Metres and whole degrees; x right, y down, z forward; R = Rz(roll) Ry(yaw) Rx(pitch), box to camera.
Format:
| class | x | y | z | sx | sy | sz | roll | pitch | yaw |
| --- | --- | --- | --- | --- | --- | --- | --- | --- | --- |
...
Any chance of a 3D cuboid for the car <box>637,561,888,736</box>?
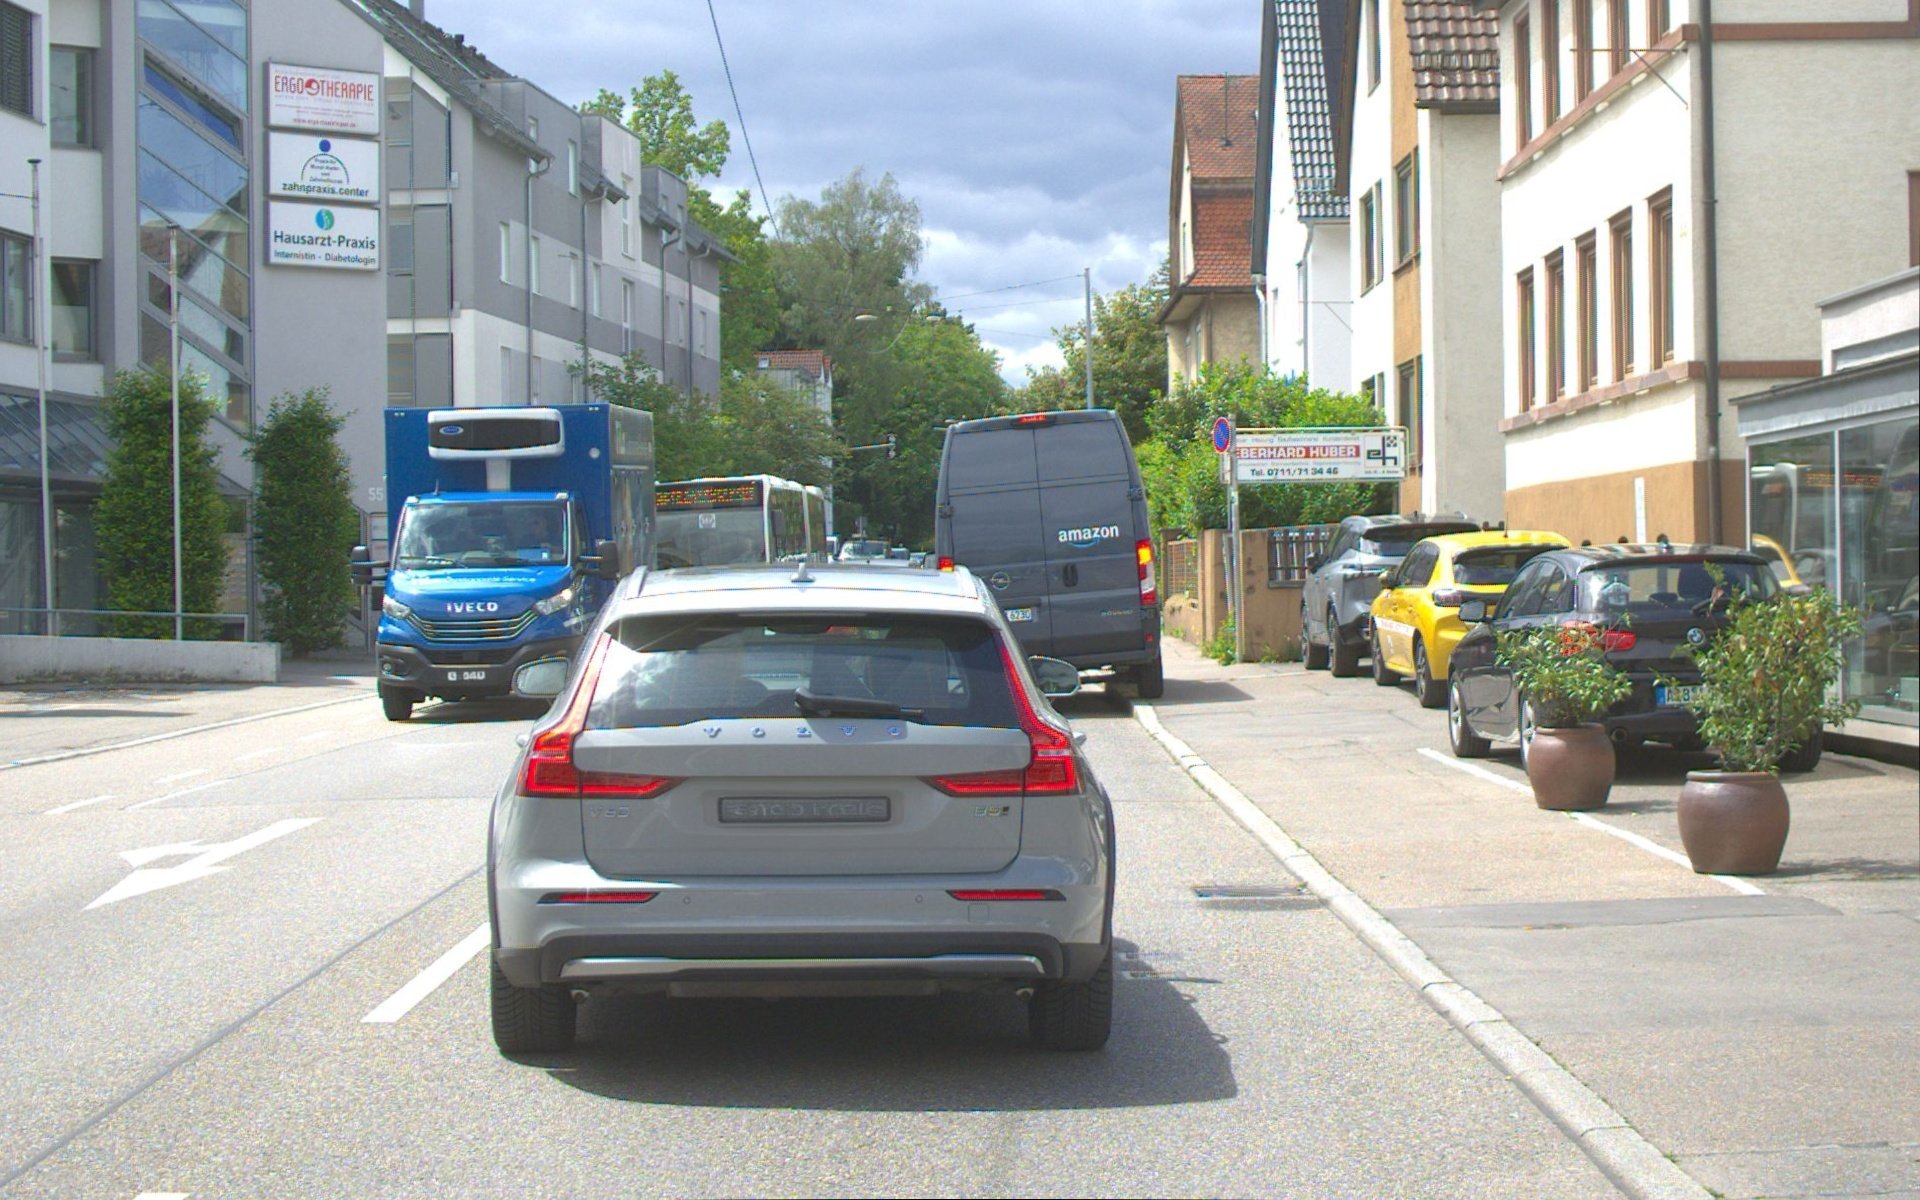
| class | x | y | z | sx | sy | sz | roll | pitch | yaw |
| --- | --- | --- | --- | --- | --- | --- | --- | --- | --- |
| car | -1.706 | 0.381 | 30.881 | 1.896 | 1.441 | 3.968 | 0 | 1 | 2 |

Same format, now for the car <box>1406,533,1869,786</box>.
| class | x | y | z | sx | sy | sz | roll | pitch | yaw |
| --- | --- | --- | --- | --- | --- | --- | --- | --- | --- |
| car | 4.268 | 0.315 | 22.417 | 1.968 | 1.442 | 4.536 | -1 | 1 | -2 |

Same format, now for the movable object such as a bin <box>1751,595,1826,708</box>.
| class | x | y | z | sx | sy | sz | roll | pitch | yaw |
| --- | --- | --- | --- | --- | --- | --- | --- | --- | --- |
| movable object such as a bin | 6.952 | 0.427 | 28.861 | 0.501 | 0.922 | 0.598 | -1 | 1 | 4 |

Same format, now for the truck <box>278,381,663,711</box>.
| class | x | y | z | sx | sy | sz | roll | pitch | yaw |
| --- | --- | --- | --- | --- | --- | --- | --- | --- | --- |
| truck | -4.989 | -0.563 | 36.642 | 2.853 | 3.082 | 8.089 | -1 | 1 | 0 |

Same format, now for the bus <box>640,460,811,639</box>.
| class | x | y | z | sx | sy | sz | roll | pitch | yaw |
| --- | --- | --- | --- | --- | --- | --- | --- | --- | --- |
| bus | -4.424 | -0.972 | 66.684 | 2.682 | 3.153 | 10.185 | -1 | 1 | -1 |

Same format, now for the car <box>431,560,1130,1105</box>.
| class | x | y | z | sx | sy | sz | roll | pitch | yaw |
| --- | --- | --- | --- | --- | --- | --- | --- | --- | --- |
| car | -0.427 | 0.606 | 11.325 | 1.896 | 1.448 | 3.968 | 0 | 1 | 2 |

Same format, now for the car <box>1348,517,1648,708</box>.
| class | x | y | z | sx | sy | sz | roll | pitch | yaw |
| --- | --- | --- | --- | --- | --- | --- | --- | --- | --- |
| car | 4.748 | 0.051 | 30.919 | 1.877 | 1.442 | 4.308 | -1 | 3 | -2 |

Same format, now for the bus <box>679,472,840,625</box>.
| class | x | y | z | sx | sy | sz | roll | pitch | yaw |
| --- | --- | --- | --- | --- | --- | --- | --- | --- | --- |
| bus | -4.332 | -1.128 | 75.836 | 2.716 | 3.153 | 8.068 | -1 | 1 | 2 |

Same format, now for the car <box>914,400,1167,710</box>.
| class | x | y | z | sx | sy | sz | roll | pitch | yaw |
| --- | --- | --- | --- | --- | --- | --- | --- | --- | --- |
| car | 0.805 | -0.450 | 34.026 | 2.252 | 2.786 | 5.569 | -1 | 1 | 2 |

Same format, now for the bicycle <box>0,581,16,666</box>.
| class | x | y | z | sx | sy | sz | roll | pitch | yaw |
| --- | --- | --- | --- | --- | --- | --- | --- | --- | --- |
| bicycle | -12.726 | 0.318 | 44.087 | 0.630 | 1.091 | 2.003 | -1 | 1 | 2 |

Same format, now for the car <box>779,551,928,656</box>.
| class | x | y | z | sx | sy | sz | roll | pitch | yaw |
| --- | --- | --- | --- | --- | --- | --- | --- | --- | --- |
| car | -1.492 | 0.020 | 49.462 | 1.896 | 1.441 | 3.968 | 0 | 1 | 2 |

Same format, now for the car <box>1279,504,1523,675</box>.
| class | x | y | z | sx | sy | sz | roll | pitch | yaw |
| --- | --- | --- | --- | --- | --- | --- | --- | --- | --- |
| car | 4.500 | -0.143 | 35.708 | 1.860 | 1.606 | 4.586 | -2 | 1 | 0 |

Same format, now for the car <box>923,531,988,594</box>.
| class | x | y | z | sx | sy | sz | roll | pitch | yaw |
| --- | --- | --- | --- | --- | --- | --- | --- | --- | --- |
| car | -0.121 | -1.248 | 113.154 | 1.993 | 2.007 | 4.000 | 0 | 1 | 2 |
